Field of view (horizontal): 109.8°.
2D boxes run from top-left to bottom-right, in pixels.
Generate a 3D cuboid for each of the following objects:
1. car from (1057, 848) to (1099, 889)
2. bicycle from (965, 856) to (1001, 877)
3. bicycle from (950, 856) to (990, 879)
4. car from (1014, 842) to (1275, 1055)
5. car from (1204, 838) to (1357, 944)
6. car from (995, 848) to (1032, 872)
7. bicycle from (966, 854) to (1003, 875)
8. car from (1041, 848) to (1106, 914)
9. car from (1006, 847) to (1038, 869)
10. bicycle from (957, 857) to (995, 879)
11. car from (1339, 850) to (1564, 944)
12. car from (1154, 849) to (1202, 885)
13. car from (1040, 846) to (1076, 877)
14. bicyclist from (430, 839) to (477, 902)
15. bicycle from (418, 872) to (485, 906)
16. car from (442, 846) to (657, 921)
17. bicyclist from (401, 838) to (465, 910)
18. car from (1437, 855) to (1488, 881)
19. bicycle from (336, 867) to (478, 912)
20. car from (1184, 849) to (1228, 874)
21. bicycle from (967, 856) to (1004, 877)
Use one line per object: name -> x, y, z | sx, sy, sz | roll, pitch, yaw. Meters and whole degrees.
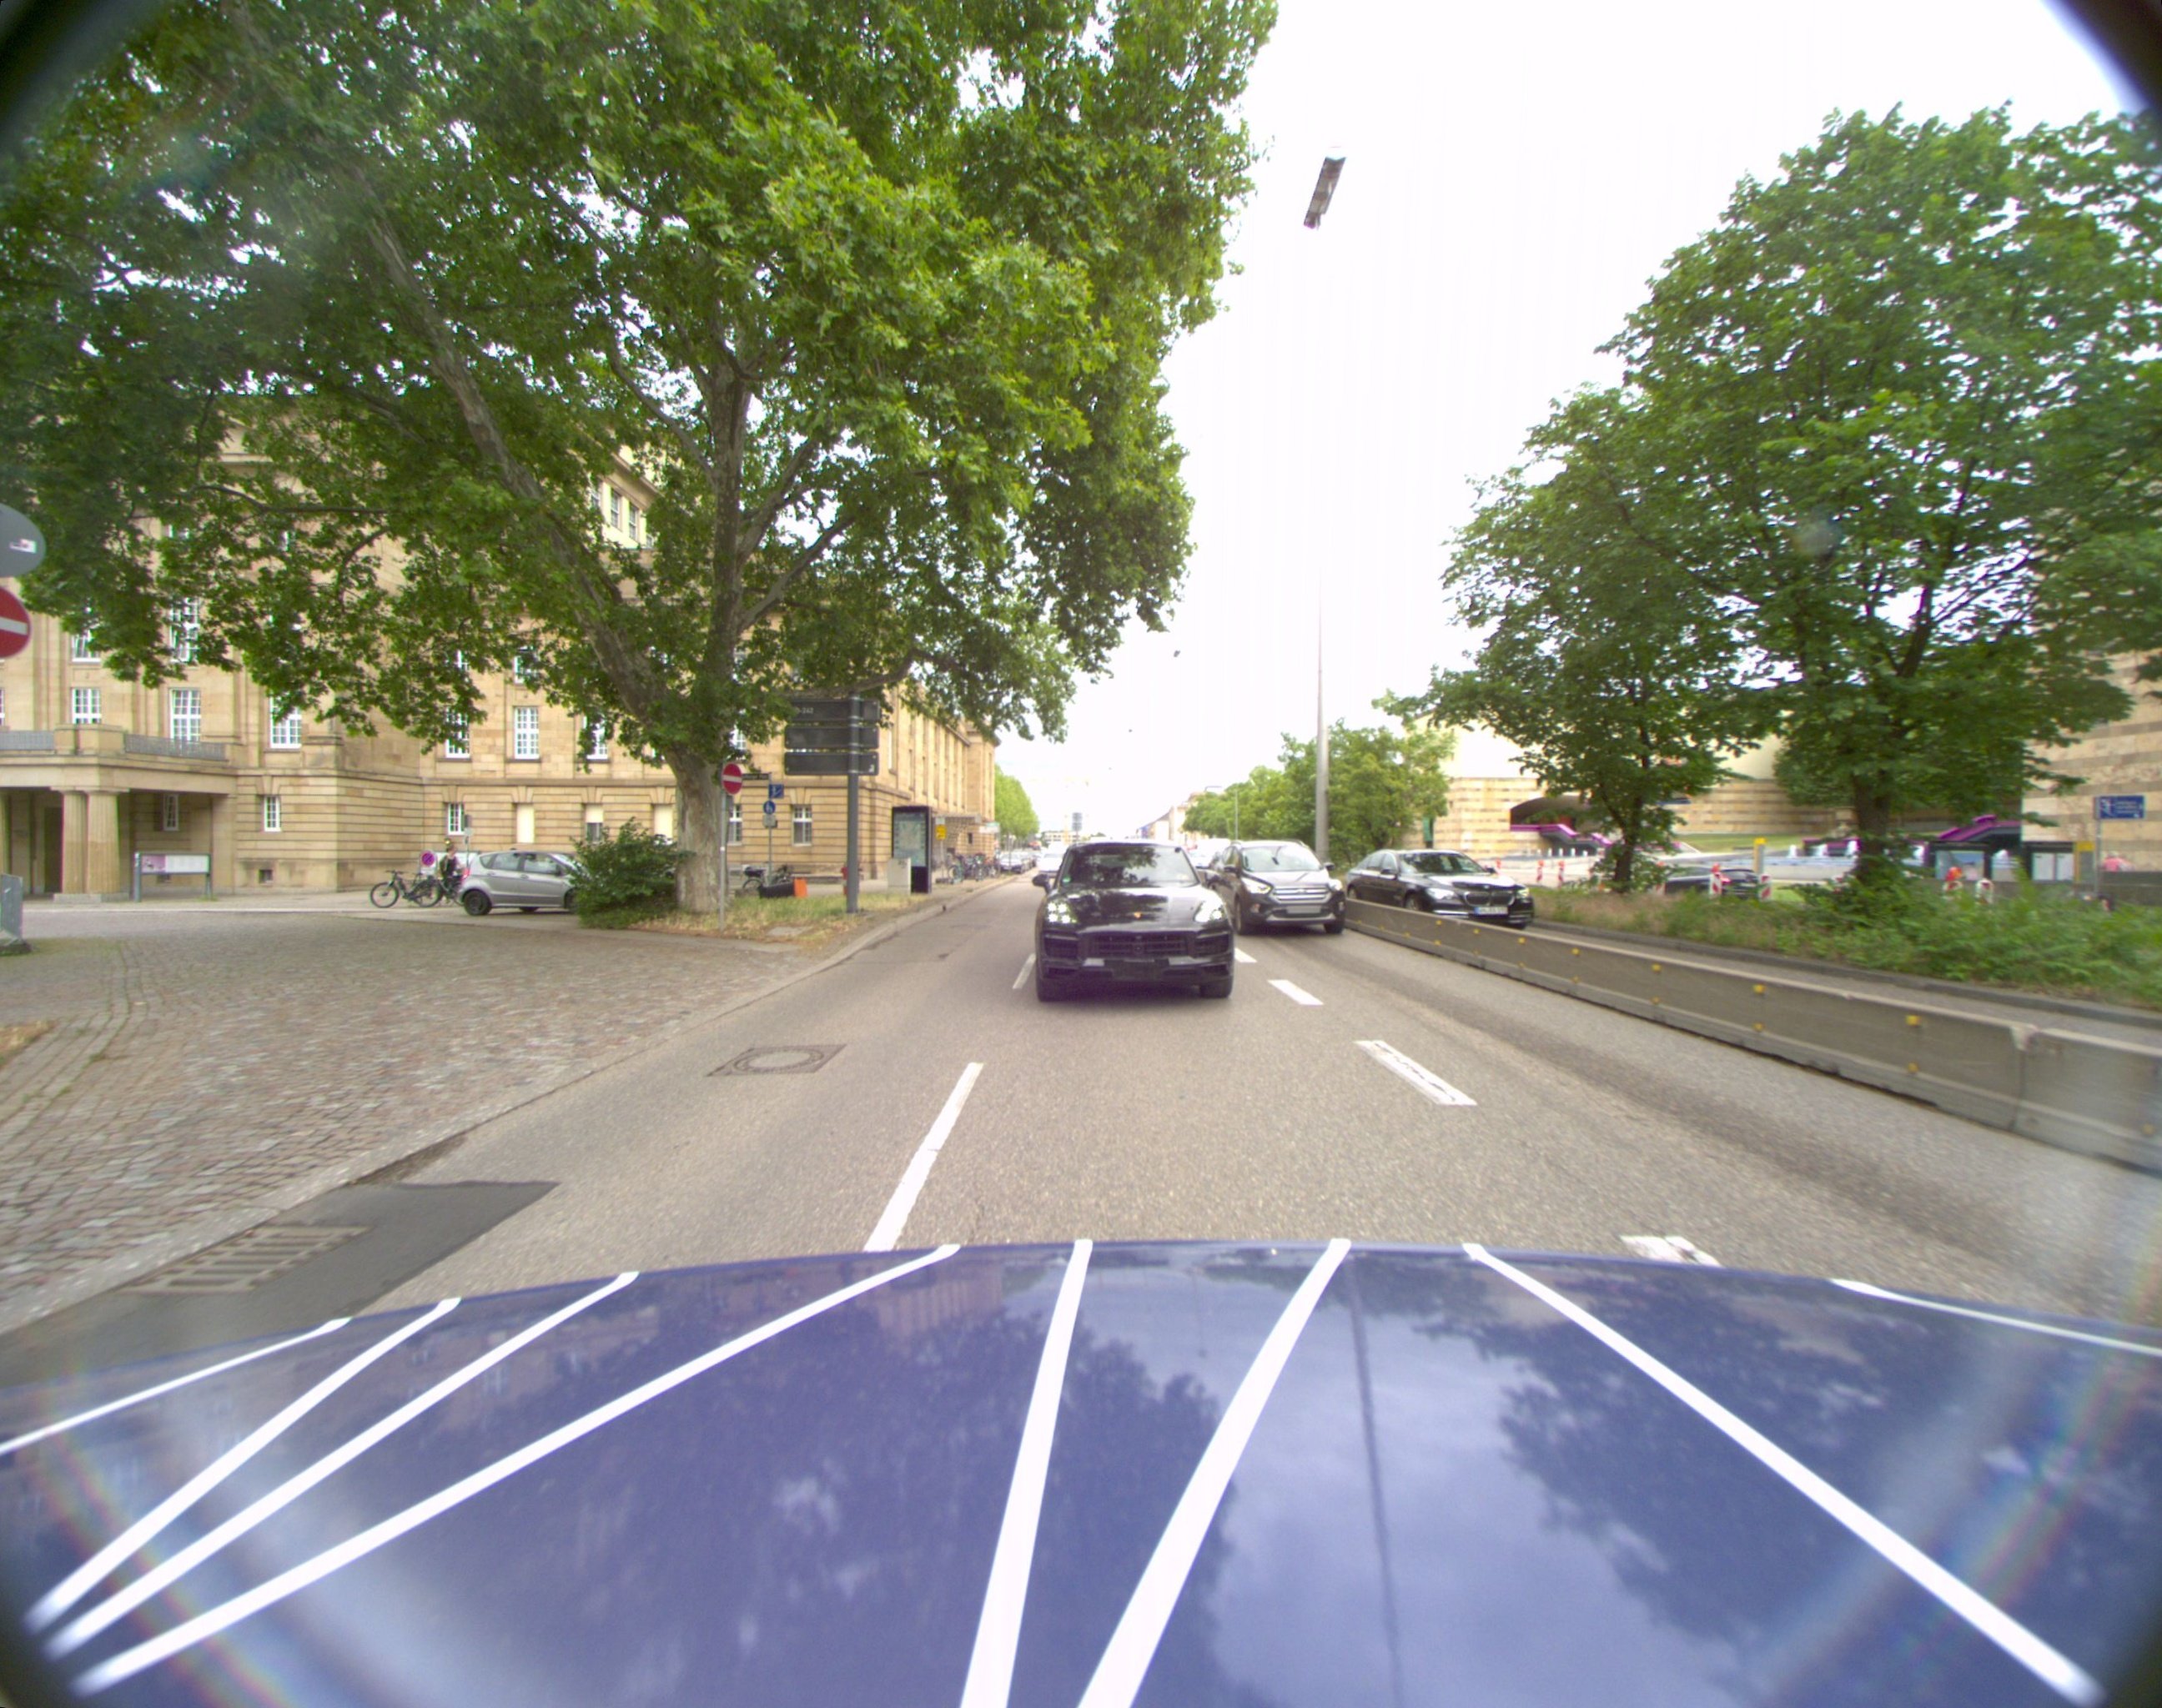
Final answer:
car -> -0.087, 0.549, 31.282 | 1.582, 1.600, 3.578 | 0, 1, 2
bicycle -> -5.034, 0.656, 39.130 | 1.841, 1.066, 0.532 | 0, 1, -7
bicycle -> -5.494, 0.667, 37.541 | 1.918, 1.092, 0.541 | 0, 1, -6
car -> 0.473, 0.733, 8.475 | 2.061, 1.616, 4.600 | -3, 1, -1
car -> 3.632, 0.597, 14.745 | 1.898, 1.705, 4.658 | -1, 0, 2
car -> -4.520, 0.375, 51.274 | 1.843, 1.522, 4.000 | 0, 1, 4
bicycle -> -5.299, 0.549, 41.612 | 1.939, 1.126, 0.540 | 0, 1, -18
car -> -0.118, 0.641, 20.330 | 1.582, 1.600, 3.578 | 0, 1, 2
car -> -4.572, 0.288, 59.265 | 1.867, 1.585, 4.000 | 0, 1, 4
bicycle -> -5.278, 0.684, 38.224 | 1.840, 1.066, 0.618 | 0, 1, -6
car -> 6.670, 0.673, 14.416 | 1.998, 1.474, 4.809 | 0, 0, 1
car -> 4.416, 0.549, 35.216 | 1.767, 1.507, 4.152 | -1, 1, 1
car -> -1.311, 0.415, 44.734 | 1.695, 1.585, 4.000 | -3, 1, 4
bicyclist -> -20.451, 0.524, 24.791 | 0.879, 2.002, 0.842 | -3, 2, -24
bicycle -> -20.372, 1.105, 24.674 | 0.918, 0.926, 2.674 | -3, 1, -24
car -> -12.936, 0.689, 18.658 | 3.997, 1.587, 1.734 | -2, 1, 1
bicyclist -> -18.780, 0.567, 22.044 | 1.013, 2.002, 1.102 | -1, 0, -15
car -> 24.306, 0.858, 48.535 | 1.582, 1.600, 3.578 | 0, 1, 2
bicycle -> -19.267, 0.998, 21.823 | 2.846, 1.178, 1.096 | -1, 1, -15
car -> 7.558, 0.419, 46.400 | 1.998, 1.474, 4.809 | 0, 1, 1
bicycle -> -5.036, 0.637, 40.073 | 1.842, 1.066, 0.531 | 0, 1, -18
